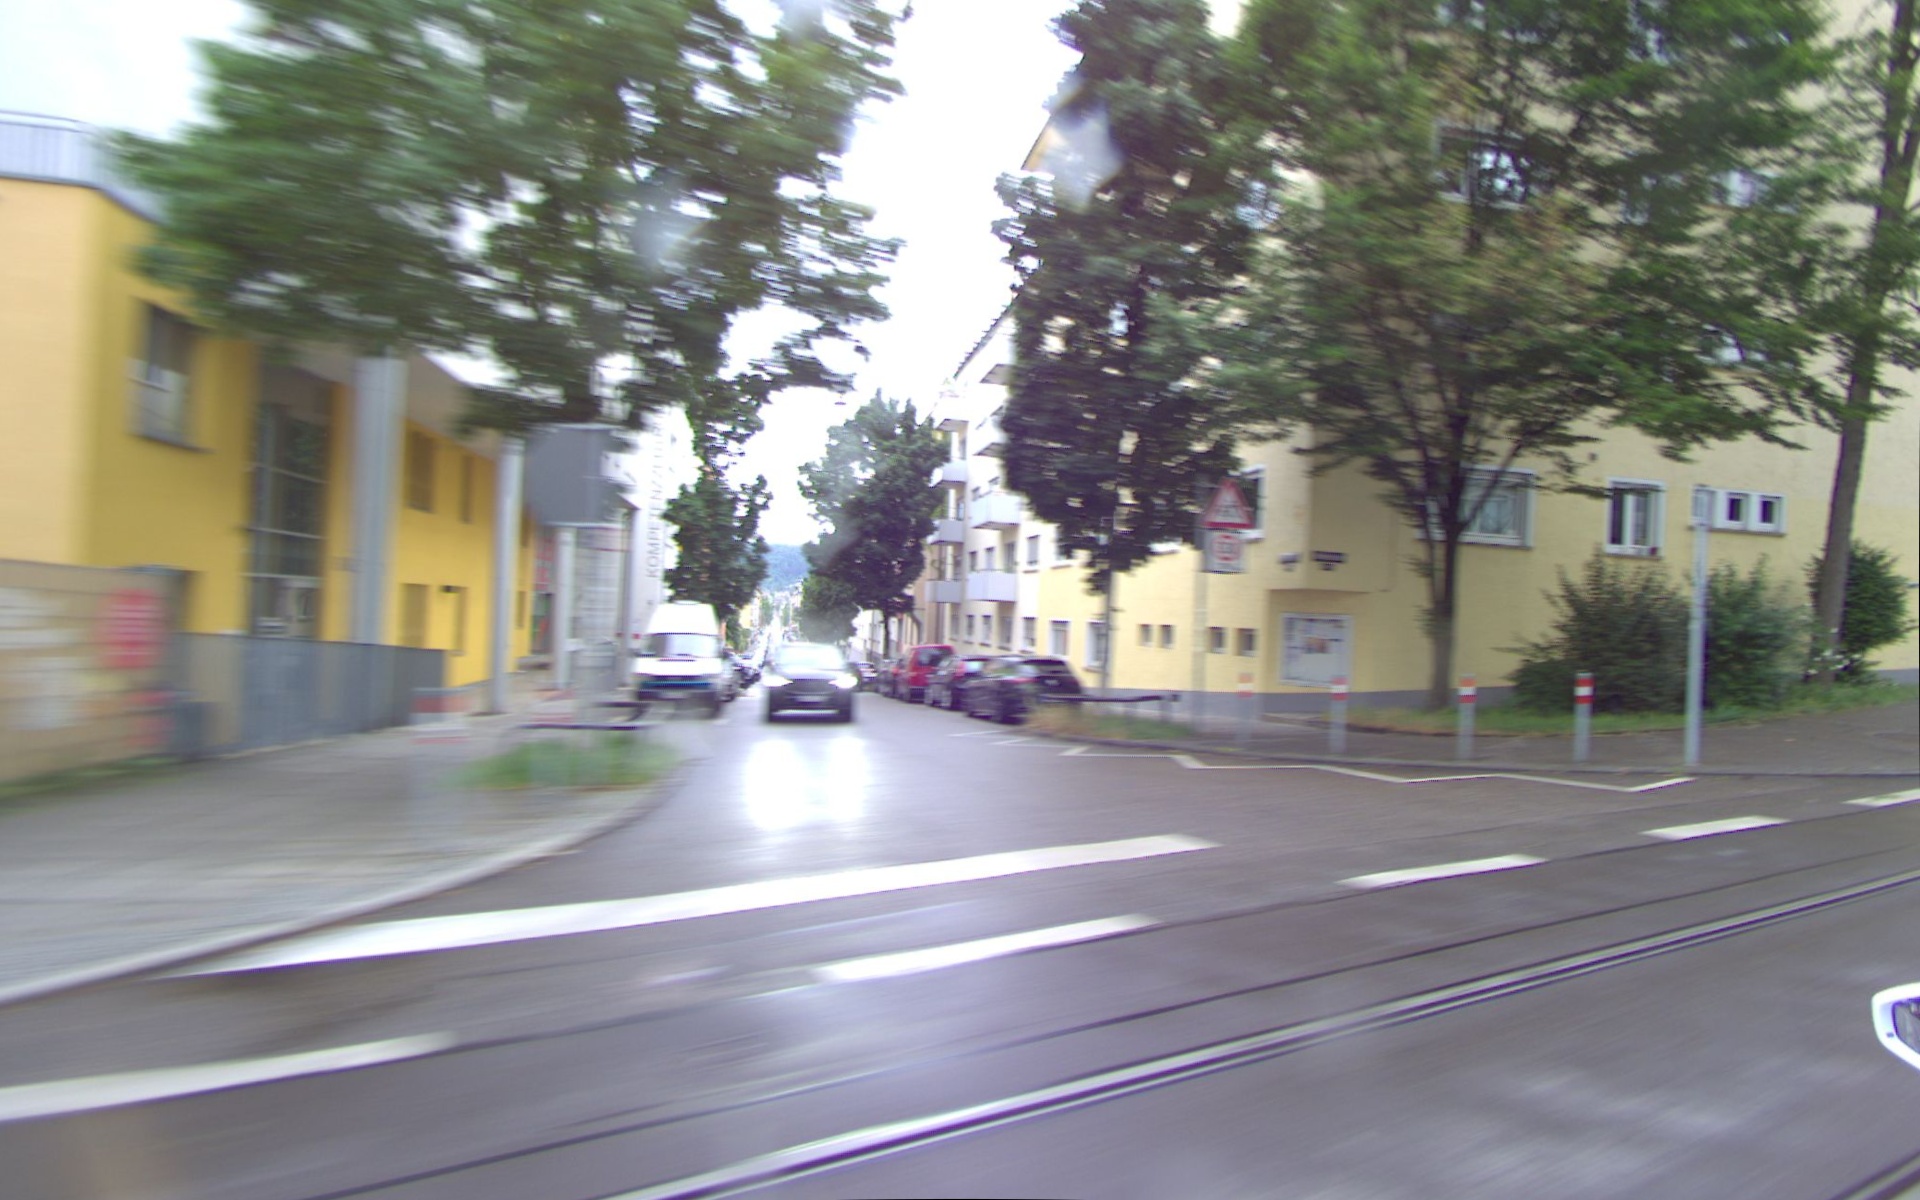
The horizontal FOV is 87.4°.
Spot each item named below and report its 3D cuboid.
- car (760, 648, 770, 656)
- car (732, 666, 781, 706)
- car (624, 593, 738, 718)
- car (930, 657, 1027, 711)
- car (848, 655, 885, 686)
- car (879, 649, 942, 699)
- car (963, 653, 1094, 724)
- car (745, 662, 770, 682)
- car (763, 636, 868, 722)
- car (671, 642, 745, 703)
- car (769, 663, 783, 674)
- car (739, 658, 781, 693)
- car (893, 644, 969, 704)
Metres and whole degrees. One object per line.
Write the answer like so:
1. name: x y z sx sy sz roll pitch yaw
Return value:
1. car: -36.190 9.667 186.482 1.768 1.529 3.995 1 -4 -10
2. car: -8.177 3.436 40.586 1.768 1.529 3.995 1 -4 -10
3. car: -6.326 1.330 23.304 1.964 2.561 5.066 1 -4 -10
4. car: 0.420 2.291 27.601 1.915 1.365 4.124 1 -4 -10
5. car: -5.587 4.169 59.634 1.915 1.780 4.124 1 -4 -10
6. car: -1.944 2.804 38.231 1.915 1.780 4.124 1 -4 -10
7. car: 1.360 1.876 21.706 1.915 1.365 4.124 1 -4 -10
8. car: -15.885 5.645 78.876 1.768 1.529 3.995 1 -4 -10
9. car: -3.256 1.740 22.337 2.034 1.699 4.766 1 -4 -10
10. car: -7.953 2.310 32.037 1.915 1.780 4.124 1 -4 -10
11. car: -25.340 9.460 138.386 1.768 1.529 3.995 1 -4 -10
12. car: -9.012 3.409 45.497 1.768 1.529 3.995 1 -4 -10
13. car: -1.019 2.433 33.075 1.915 1.835 4.124 1 -4 -10
